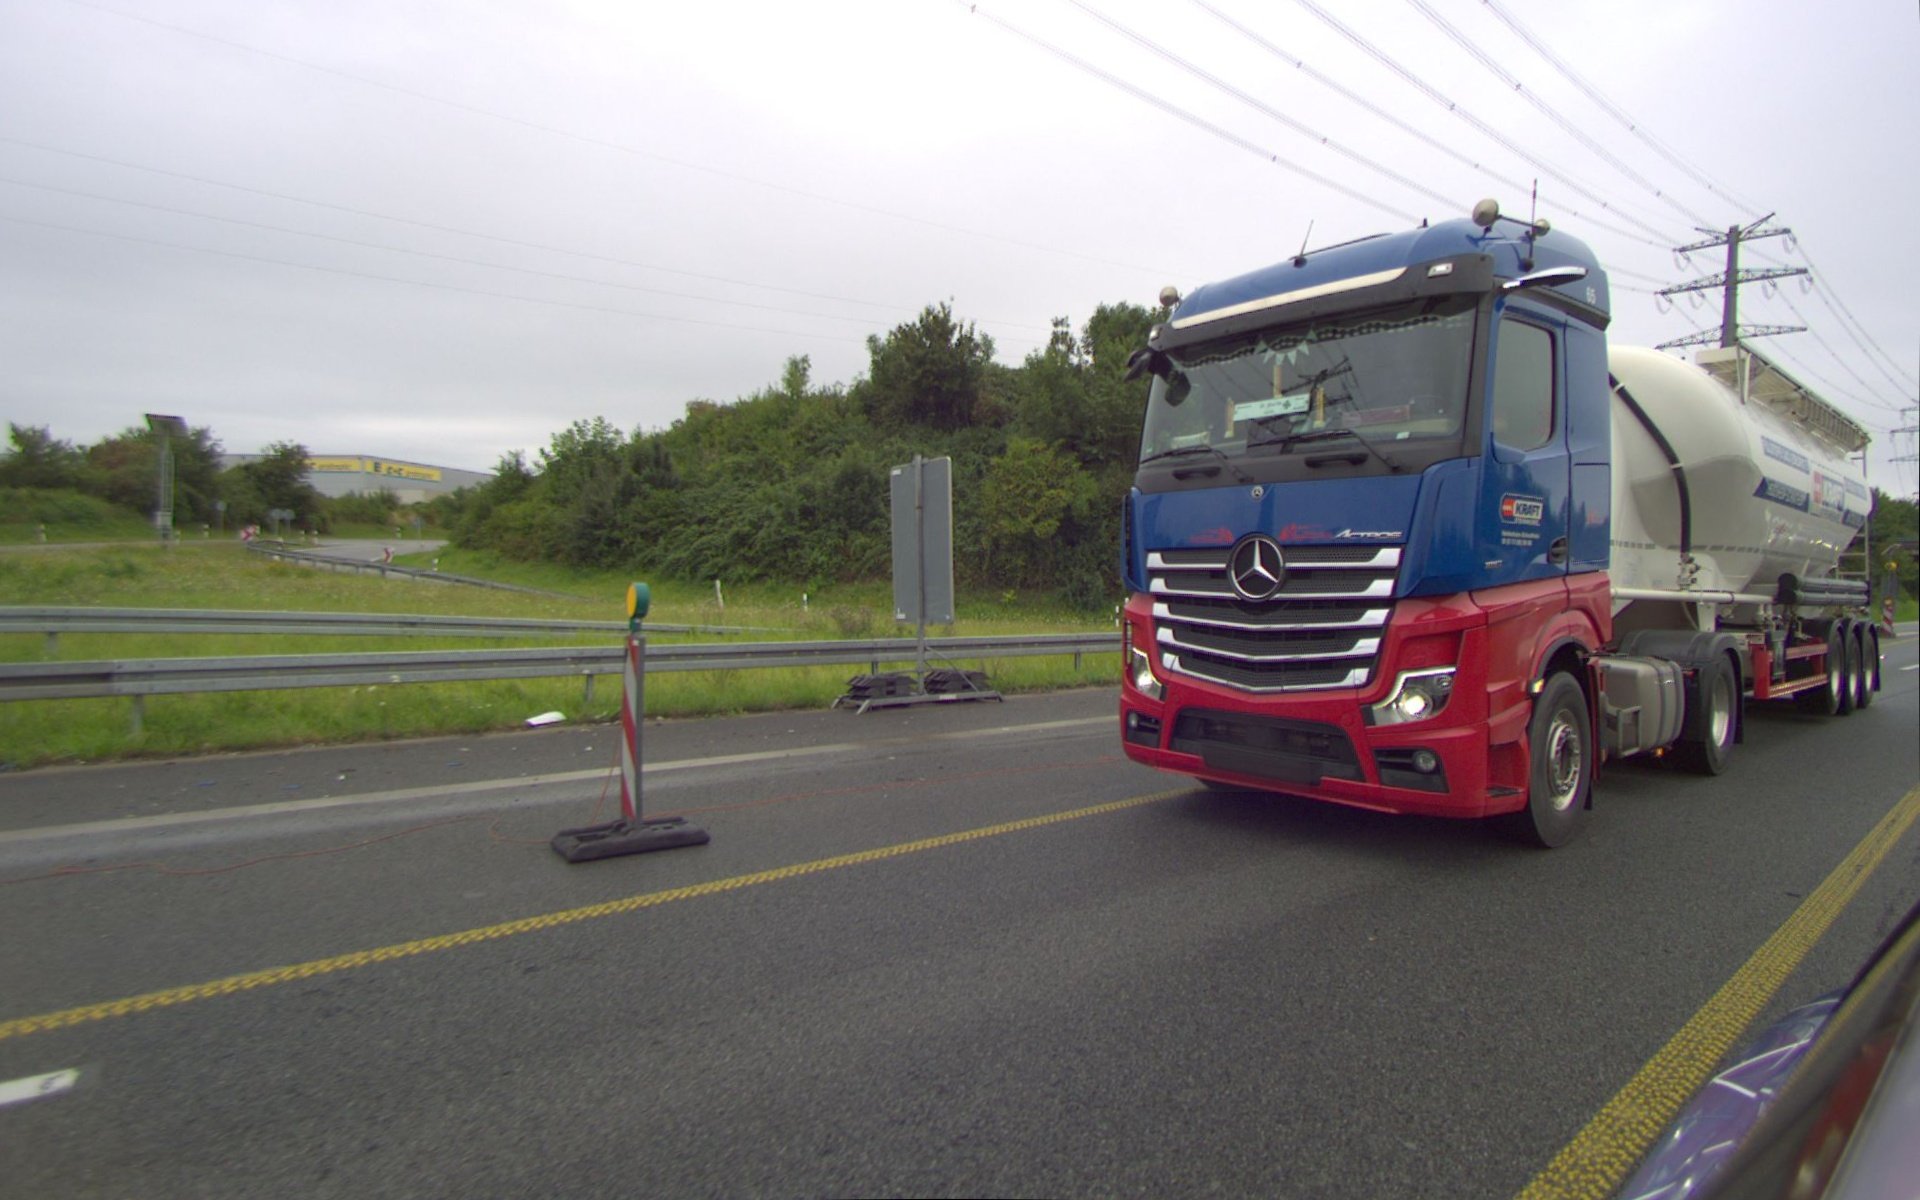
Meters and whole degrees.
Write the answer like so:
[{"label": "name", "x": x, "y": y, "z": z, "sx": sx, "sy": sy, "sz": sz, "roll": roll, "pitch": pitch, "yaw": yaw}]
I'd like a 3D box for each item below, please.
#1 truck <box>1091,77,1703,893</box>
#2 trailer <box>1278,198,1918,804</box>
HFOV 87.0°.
[{"label": "truck", "x": 3.213, "y": -0.601, "z": 7.221, "sx": 3.930, "sy": 3.996, "sz": 2.552, "roll": -1, "pitch": 1, "yaw": -41}, {"label": "trailer", "x": 8.100, "y": -0.740, "z": 11.375, "sx": 12.133, "sy": 3.882, "sz": 2.524, "roll": -1, "pitch": 1, "yaw": -40}]
